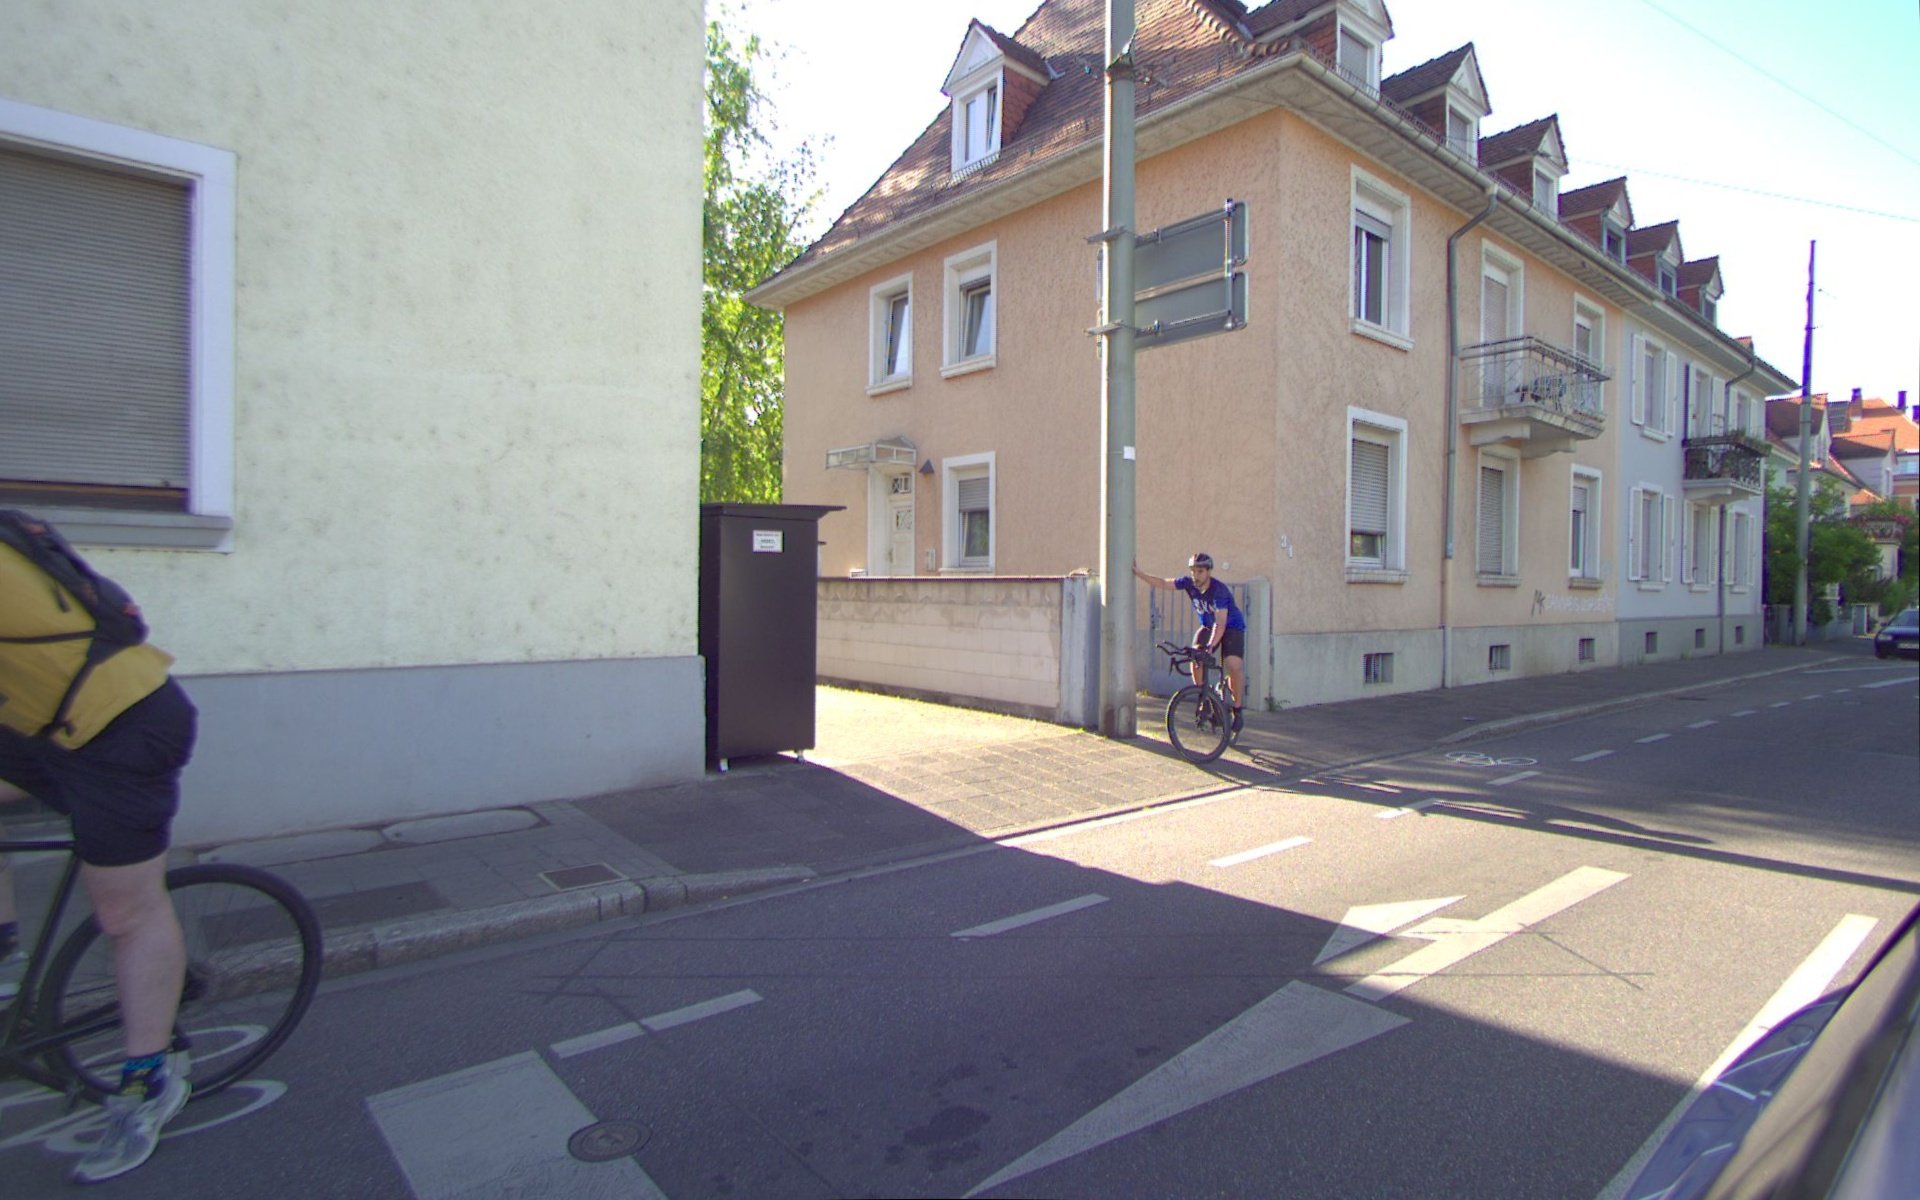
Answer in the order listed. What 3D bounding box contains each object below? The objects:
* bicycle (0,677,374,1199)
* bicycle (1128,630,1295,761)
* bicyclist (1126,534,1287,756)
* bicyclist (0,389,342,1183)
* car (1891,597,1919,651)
[{"bbox_3d":[-2.477,0.848,2.536,1.669,1.180,0.572,0,1,-41],"label":"bicycle"},{"bbox_3d":[2.316,0.822,9.210,1.669,1.003,0.572,0,4,-41],"label":"bicycle"},{"bbox_3d":[2.282,0.365,9.435,0.831,1.887,1.076,0,4,-40],"label":"bicyclist"},{"bbox_3d":[-2.301,0.425,2.701,1.018,1.840,0.653,0,1,-41],"label":"bicyclist"},{"bbox_3d":[26.696,0.634,27.346,3.796,1.382,1.648,0,1,-38],"label":"car"}]
